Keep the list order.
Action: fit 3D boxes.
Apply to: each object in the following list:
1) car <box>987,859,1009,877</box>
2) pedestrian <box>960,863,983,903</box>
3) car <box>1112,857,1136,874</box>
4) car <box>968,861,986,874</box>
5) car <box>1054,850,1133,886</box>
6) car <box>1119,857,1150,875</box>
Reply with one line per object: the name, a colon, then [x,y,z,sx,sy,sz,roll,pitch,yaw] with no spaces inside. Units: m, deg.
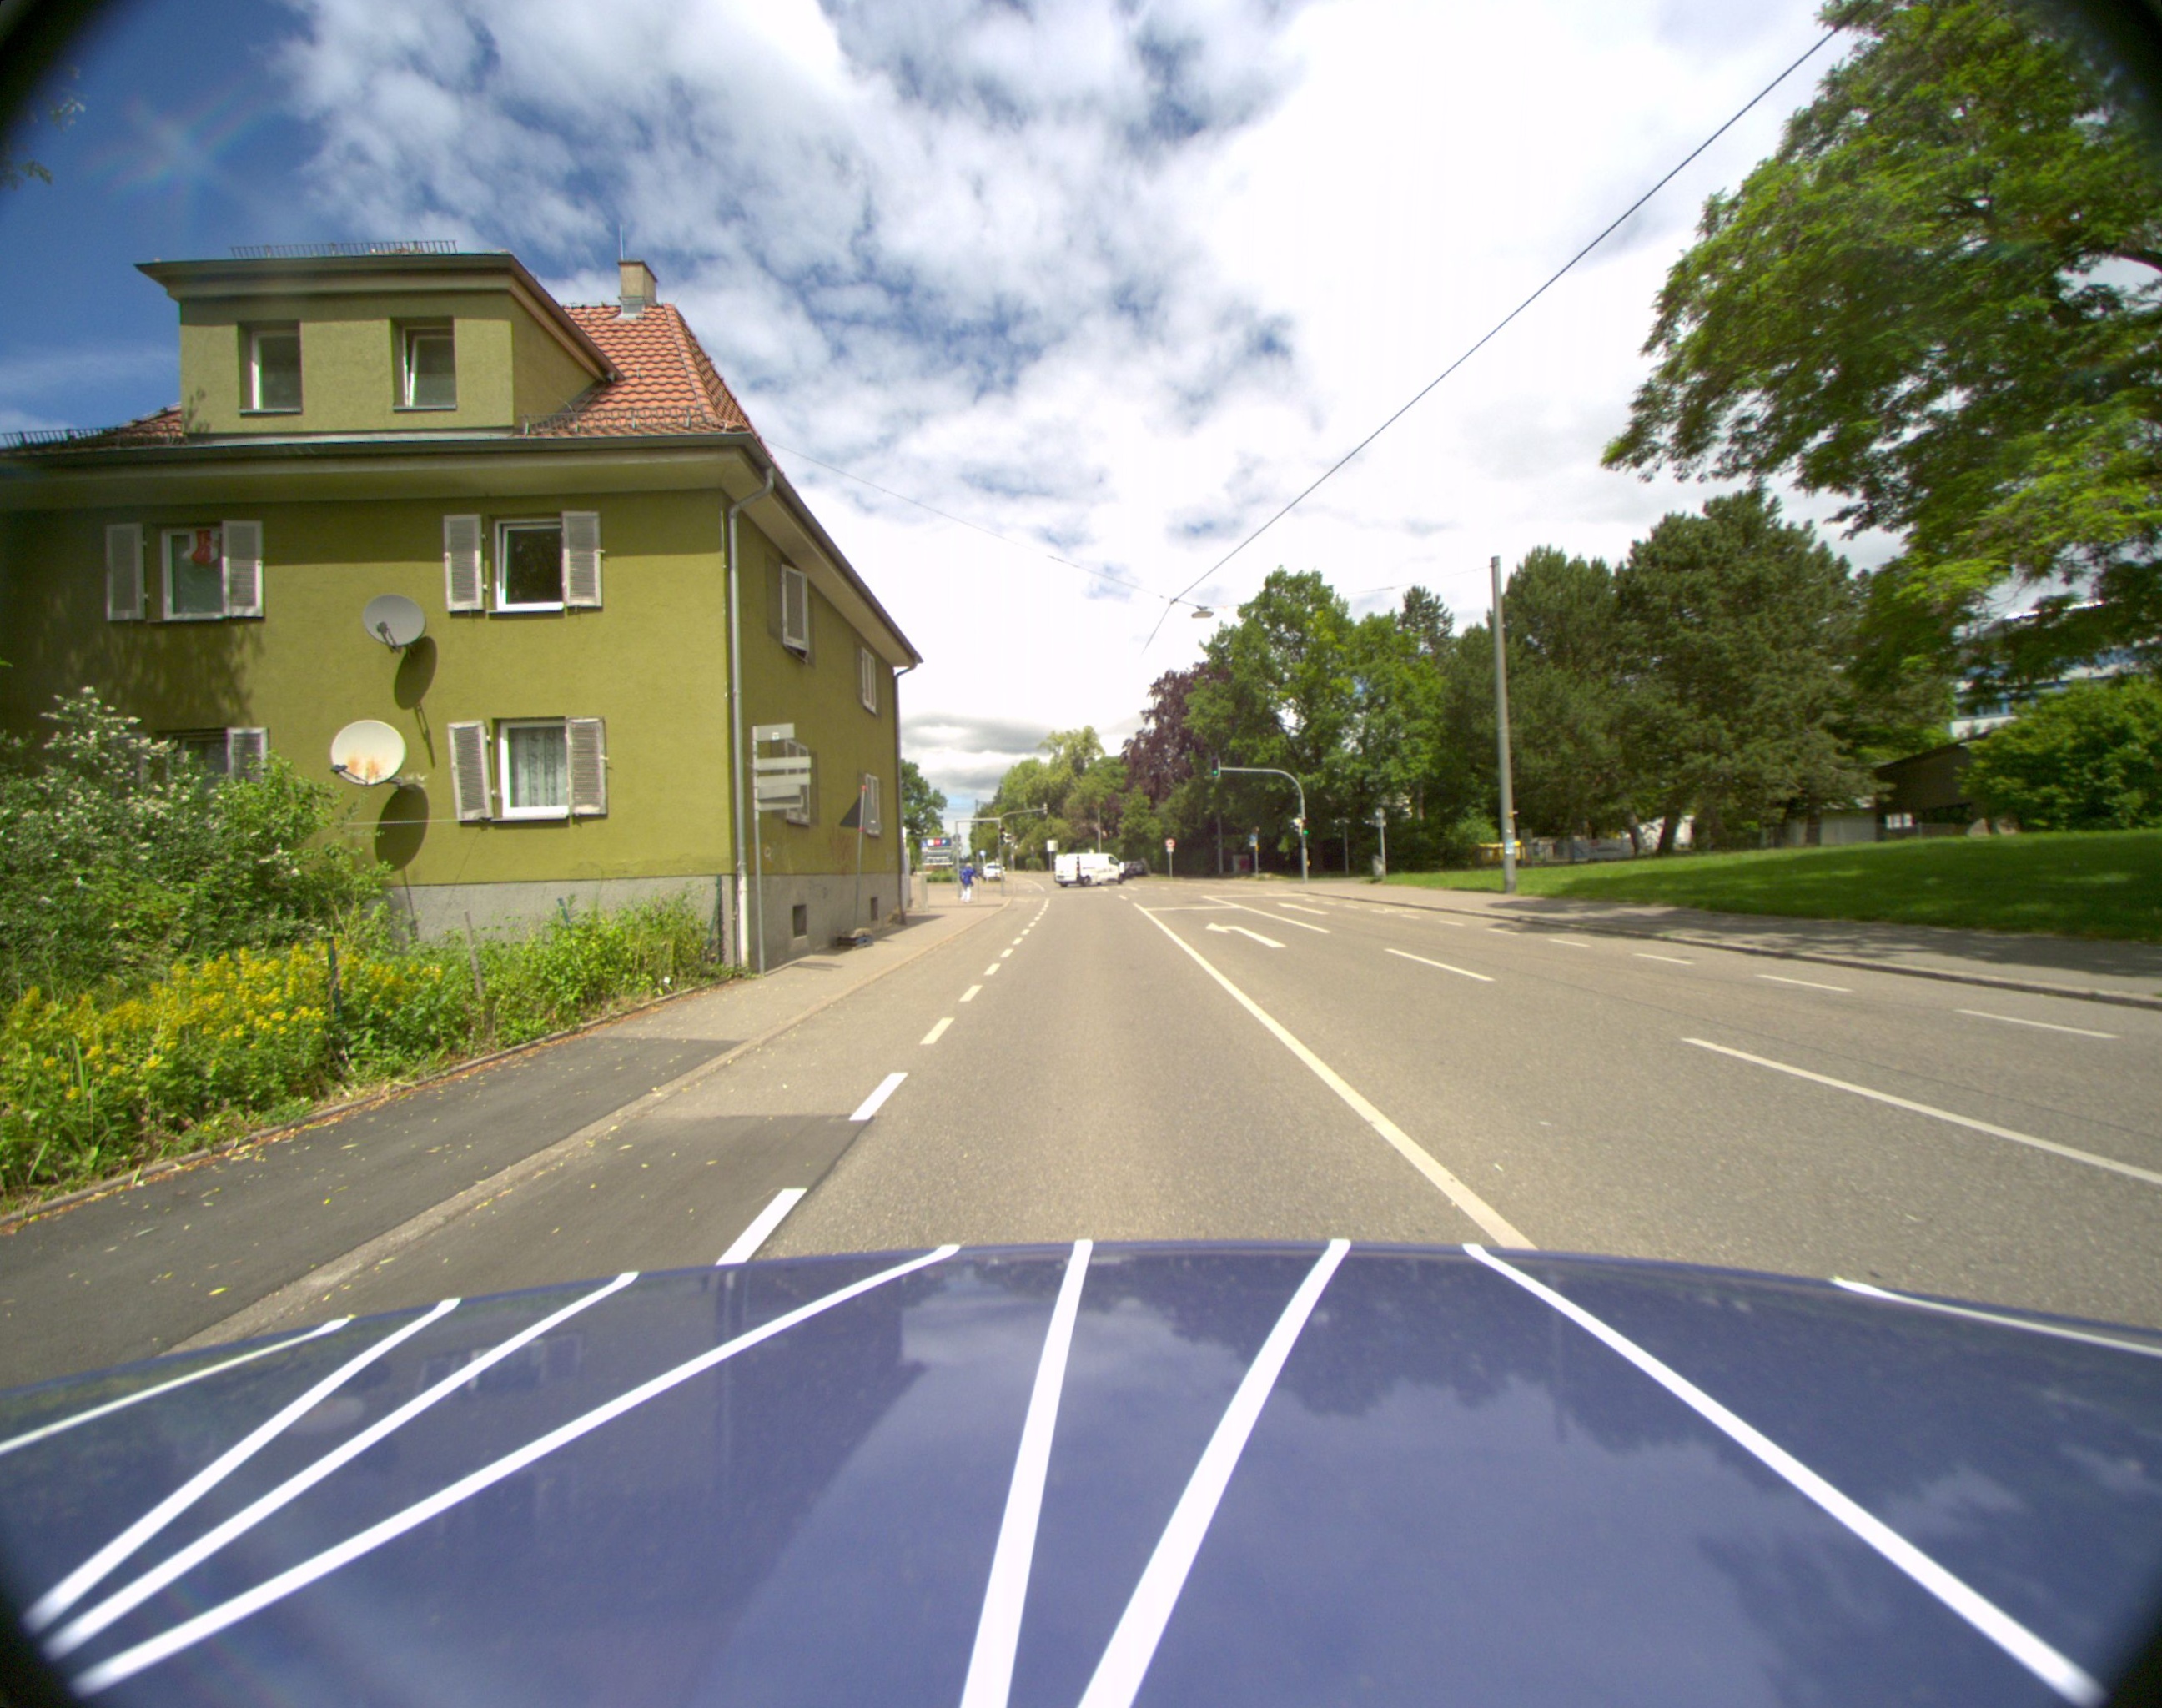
car: [-7.372,1.254,67.132,1.796,1.522,3.918,0,0,-9]
pedestrian: [-4.364,1.135,30.317,0.826,1.563,0.987,-1,0,-4]
car: [4.008,1.031,70.743,1.560,1.404,3.191,-3,1,-9]
car: [-13.066,1.663,95.284,1.707,1.522,3.995,-3,0,-15]
car: [0.829,0.787,46.330,1.994,2.011,5.362,-1,0,38]
car: [4.594,1.032,66.073,1.688,1.407,4.398,-3,1,-9]
